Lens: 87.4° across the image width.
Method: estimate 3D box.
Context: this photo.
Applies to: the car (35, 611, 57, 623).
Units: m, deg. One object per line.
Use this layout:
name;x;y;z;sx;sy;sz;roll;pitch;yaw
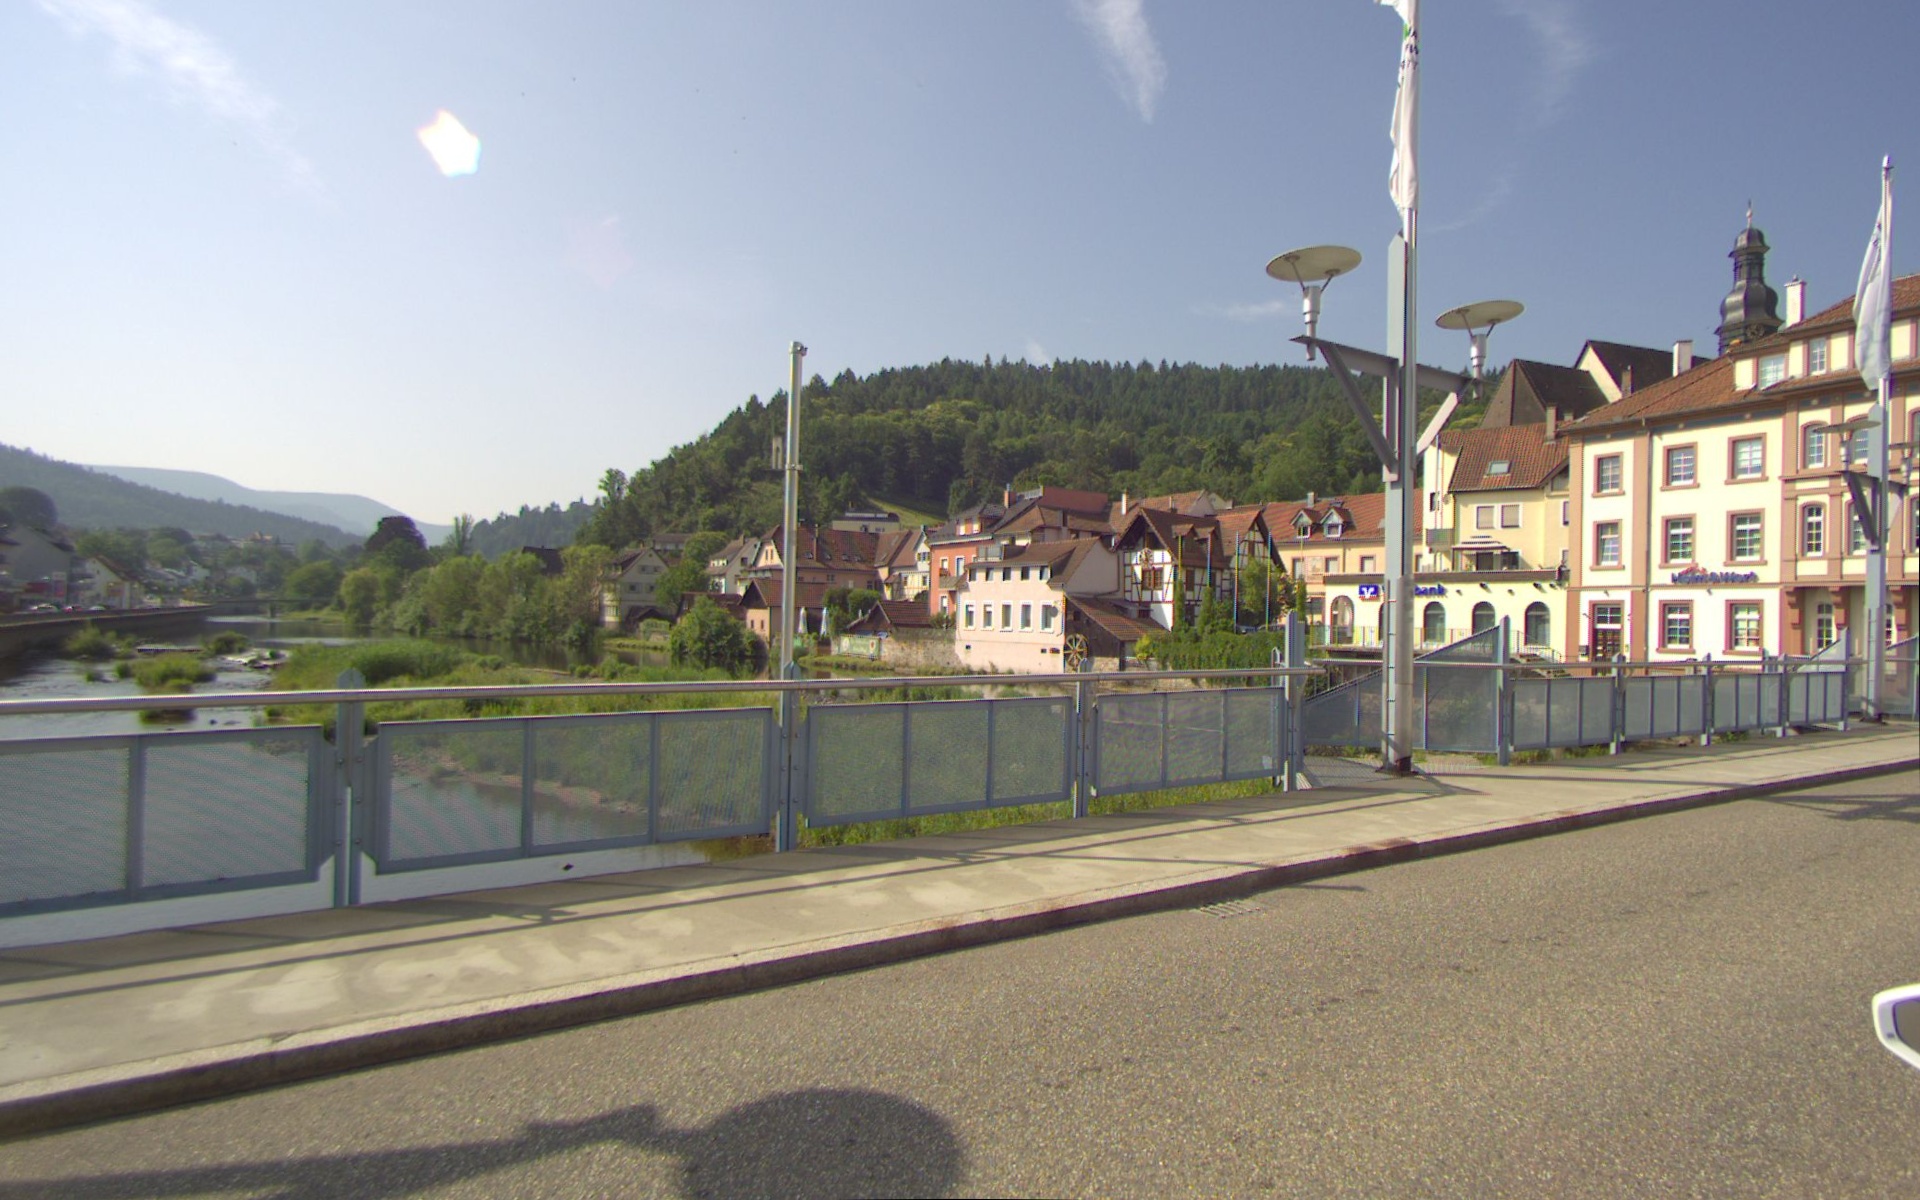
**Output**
car;-113.933;2.083;125.222;1.503;1.467;3.245;1;-1;-34
